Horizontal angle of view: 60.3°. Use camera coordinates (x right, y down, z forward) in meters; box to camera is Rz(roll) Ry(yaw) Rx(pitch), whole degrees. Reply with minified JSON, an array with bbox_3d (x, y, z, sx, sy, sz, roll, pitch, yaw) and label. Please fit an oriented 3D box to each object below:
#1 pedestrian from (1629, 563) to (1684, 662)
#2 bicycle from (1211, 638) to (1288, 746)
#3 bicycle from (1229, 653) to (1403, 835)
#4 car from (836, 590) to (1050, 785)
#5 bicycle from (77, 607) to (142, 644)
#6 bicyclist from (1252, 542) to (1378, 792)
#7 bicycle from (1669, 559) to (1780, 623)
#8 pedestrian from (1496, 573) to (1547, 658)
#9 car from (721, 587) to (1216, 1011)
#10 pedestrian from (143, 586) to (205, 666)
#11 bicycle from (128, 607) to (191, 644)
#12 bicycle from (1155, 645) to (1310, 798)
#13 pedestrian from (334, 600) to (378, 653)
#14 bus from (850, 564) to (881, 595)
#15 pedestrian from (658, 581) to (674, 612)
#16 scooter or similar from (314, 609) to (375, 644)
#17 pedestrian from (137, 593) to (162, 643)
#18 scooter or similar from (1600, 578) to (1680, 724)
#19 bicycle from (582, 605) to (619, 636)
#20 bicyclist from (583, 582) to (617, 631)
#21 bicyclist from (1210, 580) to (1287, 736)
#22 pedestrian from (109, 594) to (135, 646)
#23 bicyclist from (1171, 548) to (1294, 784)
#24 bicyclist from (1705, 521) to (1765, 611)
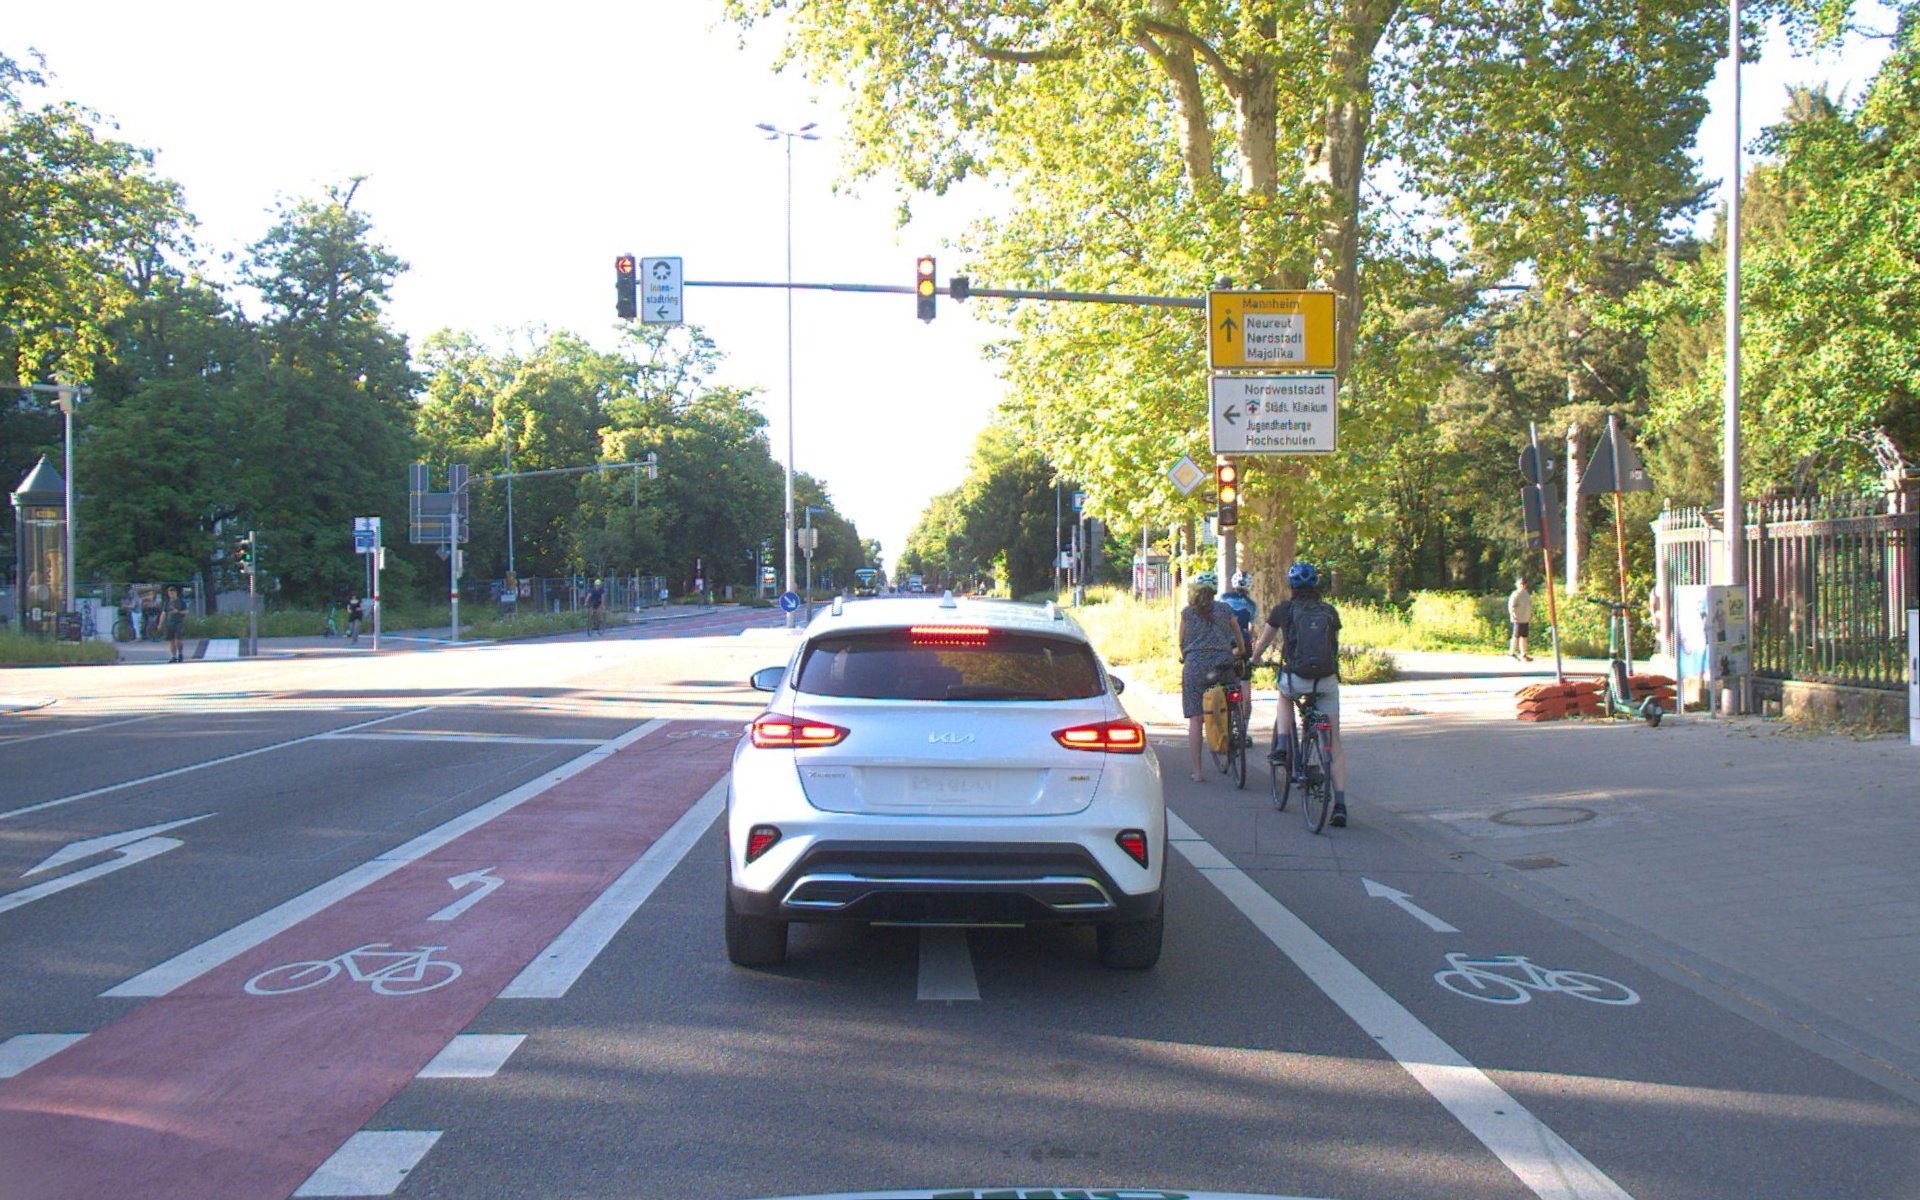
[{"bbox_3d":[12.289,0.213,29.192,0.675,1.729,0.644,0,0,-1],"label":"pedestrian"},{"bbox_3d":[2.900,0.904,16.674,0.393,0.973,1.550,-3,0,-2],"label":"bicycle"},{"bbox_3d":[2.370,0.925,11.262,0.655,1.027,2.080,1,1,-2],"label":"bicycle"},{"bbox_3d":[-0.207,0.687,15.010,1.694,1.509,3.515,-1,1,-3],"label":"car"},{"bbox_3d":[-27.695,0.828,53.892,1.826,1.168,0.442,0,0,-8],"label":"bicycle"},{"bbox_3d":[2.388,0.438,11.188,0.652,1.630,0.720,1,0,-2],"label":"bicyclist"},{"bbox_3d":[12.489,-0.153,27.048,1.582,1.032,0.475,0,0,13],"label":"bicycle"},{"bbox_3d":[10.290,0.278,30.343,0.801,1.544,0.917,0,0,14],"label":"pedestrian"},{"bbox_3d":[-0.038,0.696,7.923,1.785,1.506,3.934,0,1,-2],"label":"car"},{"bbox_3d":[-20.319,0.658,42.773,0.974,2.049,1.191,0,0,4],"label":"pedestrian"},{"bbox_3d":[-25.912,0.828,53.557,1.826,1.168,0.290,0,0,-8],"label":"bicycle"},{"bbox_3d":[2.184,0.941,13.618,0.742,1.031,2.568,1,1,-2],"label":"bicycle"},{"bbox_3d":[-19.231,0.835,52.664,1.067,1.631,0.999,-1,0,-7],"label":"pedestrian"},{"bbox_3d":[-12.116,-2.549,210.742,3.668,3.737,13.229,-1,1,-4],"label":"bus"},{"bbox_3d":[-17.291,-0.226,97.203,0.769,1.817,0.751,0,0,0],"label":"pedestrian"},{"bbox_3d":[-20.860,0.888,56.044,0.697,1.144,1.916,0,0,32],"label":"scooter or similar"},{"bbox_3d":[-26.221,0.574,53.503,0.617,1.608,0.444,0,0,-11],"label":"pedestrian"},{"bbox_3d":[6.526,0.466,15.909,0.223,1.350,1.171,-1,0,-2],"label":"scooter or similar"},{"bbox_3d":[-12.448,0.707,57.306,0.650,1.006,2.504,-1,1,1],"label":"bicycle"},{"bbox_3d":[-12.459,0.209,57.203,0.857,1.636,1.188,-1,0,1],"label":"bicyclist"},{"bbox_3d":[2.895,0.568,16.640,0.543,1.504,0.716,-3,0,-2],"label":"bicyclist"},{"bbox_3d":[-27.142,0.641,53.572,0.617,1.671,0.444,0,0,-11],"label":"pedestrian"},{"bbox_3d":[2.200,0.512,13.490,0.738,1.827,1.164,1,0,-2],"label":"bicyclist"},{"bbox_3d":[12.643,-0.551,27.005,0.765,1.456,0.666,0,0,13],"label":"bicyclist"}]
